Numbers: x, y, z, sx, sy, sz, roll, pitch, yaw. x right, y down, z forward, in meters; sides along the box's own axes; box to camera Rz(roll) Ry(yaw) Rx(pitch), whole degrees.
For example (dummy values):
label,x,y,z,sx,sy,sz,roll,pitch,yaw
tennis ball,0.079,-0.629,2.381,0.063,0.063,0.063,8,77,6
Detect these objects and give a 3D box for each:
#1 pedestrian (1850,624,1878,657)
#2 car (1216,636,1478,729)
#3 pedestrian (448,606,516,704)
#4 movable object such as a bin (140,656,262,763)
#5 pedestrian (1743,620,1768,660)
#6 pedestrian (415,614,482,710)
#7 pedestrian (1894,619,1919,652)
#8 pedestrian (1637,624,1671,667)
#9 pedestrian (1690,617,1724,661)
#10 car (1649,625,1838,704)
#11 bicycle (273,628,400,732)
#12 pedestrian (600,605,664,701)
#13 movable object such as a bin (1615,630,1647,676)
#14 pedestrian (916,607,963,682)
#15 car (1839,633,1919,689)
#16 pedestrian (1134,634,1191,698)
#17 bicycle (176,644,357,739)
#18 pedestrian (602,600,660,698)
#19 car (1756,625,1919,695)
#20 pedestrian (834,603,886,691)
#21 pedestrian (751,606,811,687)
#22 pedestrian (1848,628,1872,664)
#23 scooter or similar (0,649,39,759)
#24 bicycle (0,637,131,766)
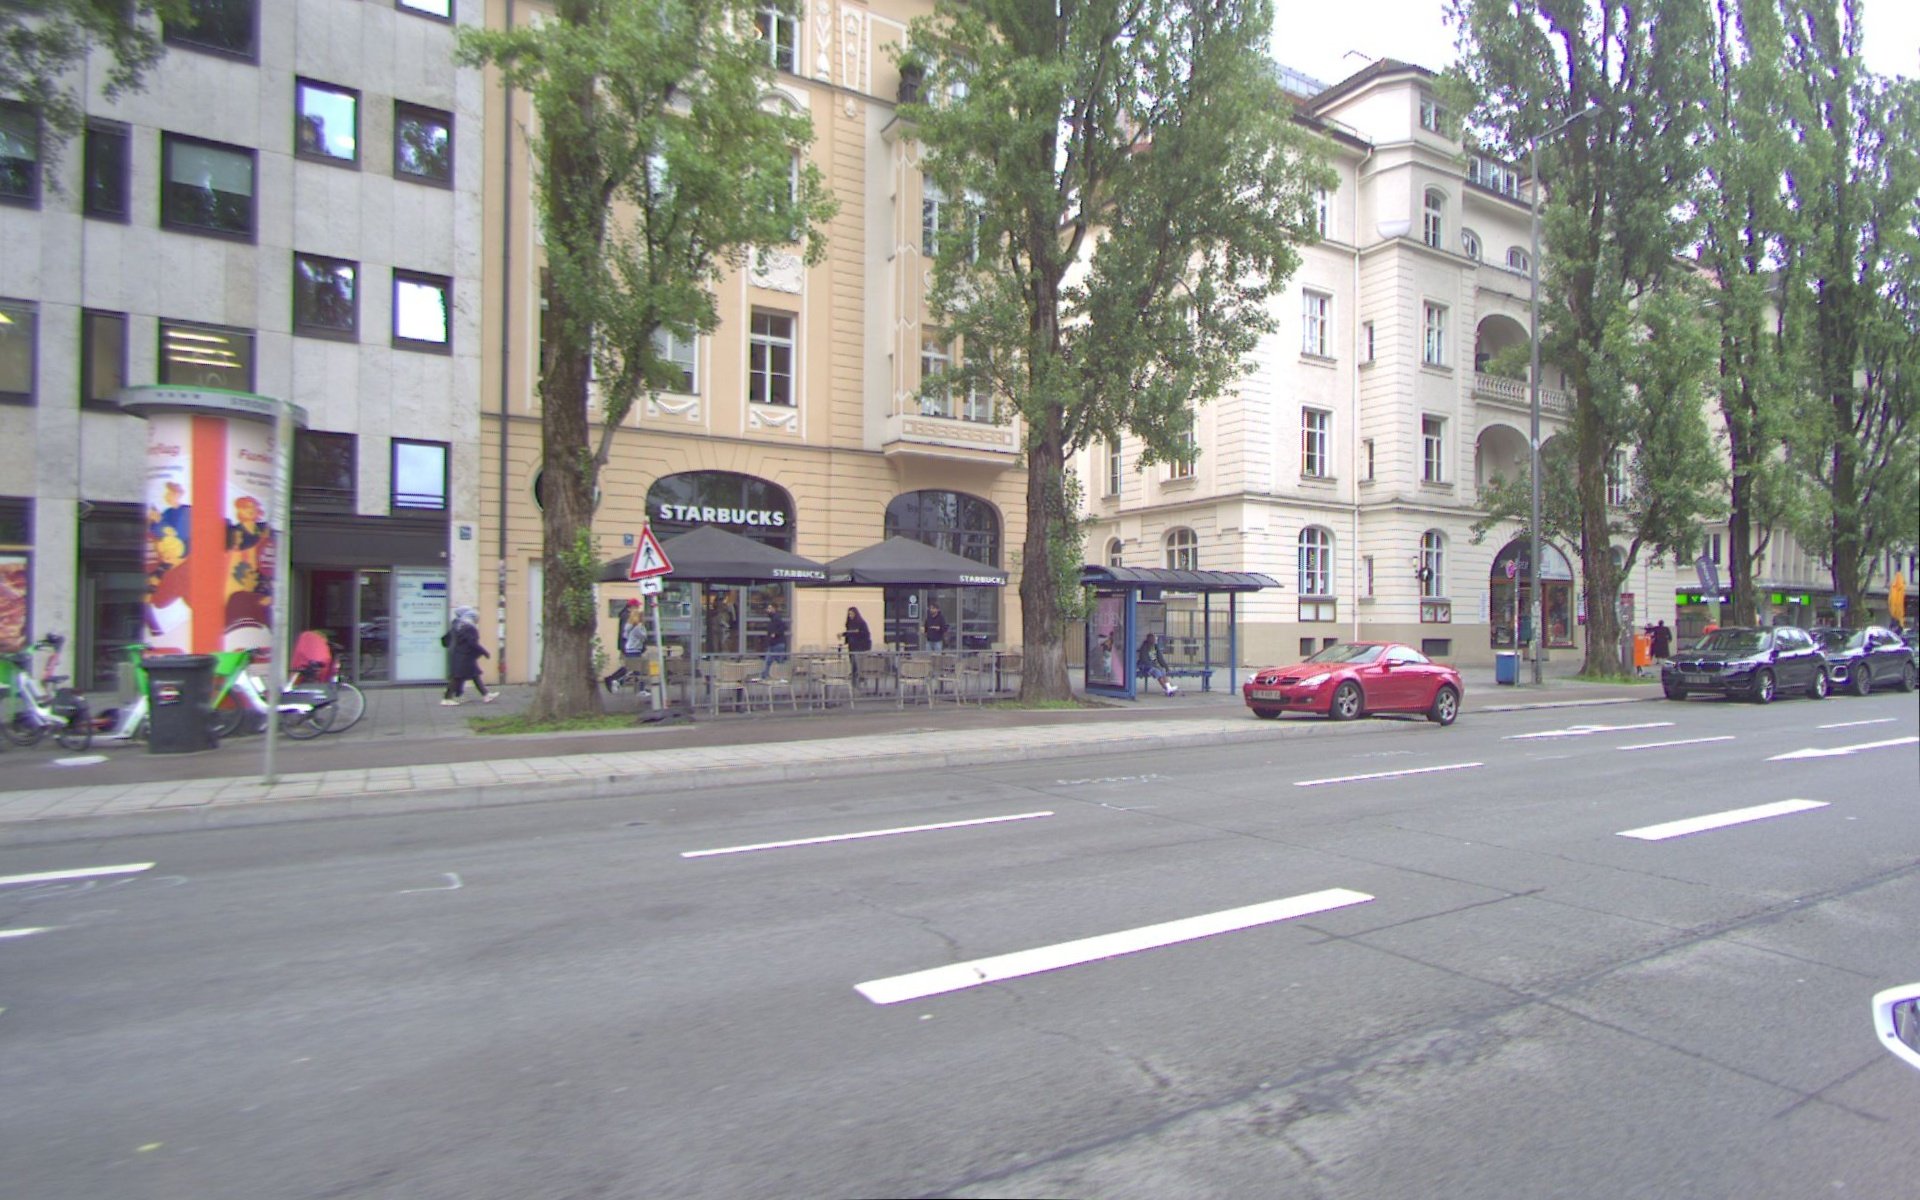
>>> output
label,x,y,z,sx,sy,sz,roll,pitch,yaw
pedestrian,49.720,2.224,55.242,1.134,1.768,0.848,1,-1,-30
car,6.349,1.266,16.427,4.045,1.315,1.871,1,-2,-29
pedestrian,-8.083,0.914,16.969,0.977,1.588,0.747,1,0,-29
movable object such as a bin,-8.362,1.178,11.079,0.712,1.055,0.854,1,0,31
pedestrian,35.070,1.748,44.291,0.817,1.744,0.622,1,-1,-31
pedestrian,-8.855,1.051,17.398,0.977,1.588,0.747,1,0,-29
pedestrian,51.867,1.937,54.943,1.134,1.767,0.848,1,-1,-30
pedestrian,26.214,1.714,37.931,0.795,1.558,0.765,1,0,-31
pedestrian,29.102,1.522,39.131,0.941,1.695,0.731,1,-1,-30
car,17.775,1.385,22.745,4.661,1.639,1.811,1,-1,-31
bicycle,-8.436,1.043,13.563,1.919,1.318,0.584,0,-1,29
pedestrian,-6.041,0.955,18.487,0.966,1.704,0.728,1,1,-30
movable object such as a bin,19.872,1.567,29.753,0.579,1.333,0.602,1,-1,-30
pedestrian,-0.496,1.049,23.994,0.809,1.767,0.903,1,-1,-25
car,26.373,1.666,27.995,4.639,1.442,1.675,1,-3,-34
pedestrian,4.287,1.379,21.299,0.748,1.273,0.957,1,0,-28
bicycle,-8.476,1.114,12.328,1.776,1.102,0.507,1,0,-7
pedestrian,-6.315,0.915,19.257,0.901,1.811,0.796,1,1,-30
car,22.175,1.451,25.217,4.573,1.615,1.796,1,-2,-29
pedestrian,-2.078,0.960,20.775,0.809,1.767,0.903,1,-1,-25
pedestrian,-3.917,0.996,21.946,0.977,1.707,1.077,1,0,-28
pedestrian,44.619,2.282,49.807,0.816,1.744,0.623,1,-1,-28
scooter or similar,-10.680,1.102,10.856,1.531,1.128,0.389,0,-1,20
bicycle,-10.259,1.106,11.271,1.915,1.307,0.508,1,0,18
